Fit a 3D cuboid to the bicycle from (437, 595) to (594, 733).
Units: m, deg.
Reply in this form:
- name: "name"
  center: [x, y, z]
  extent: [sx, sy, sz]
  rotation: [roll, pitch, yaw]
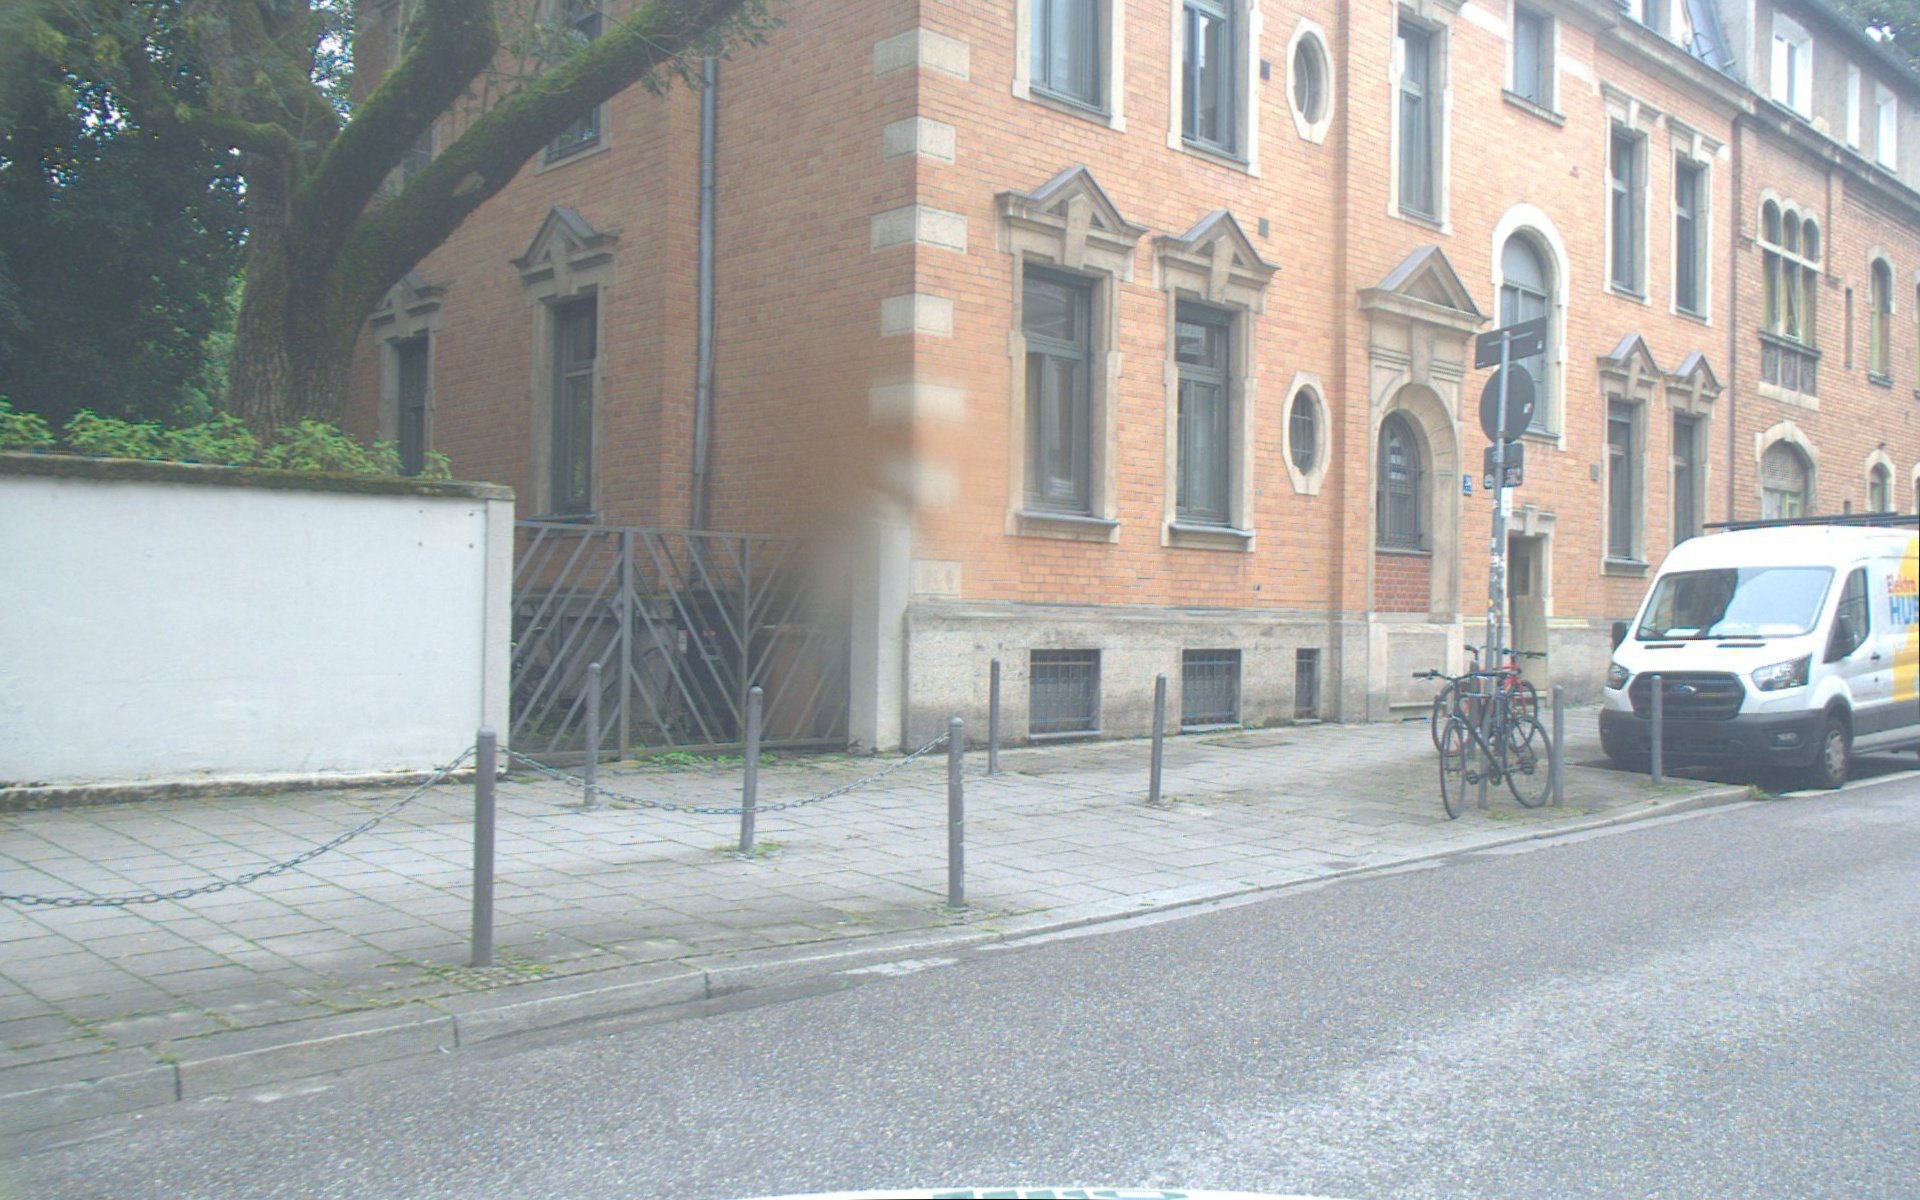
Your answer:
- name: "bicycle"
  center: [-4.271, 0.583, 15.803]
  extent: [0.532, 1.240, 2.049]
  rotation: [2, -1, -43]

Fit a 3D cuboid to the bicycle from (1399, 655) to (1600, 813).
- name: "bicycle"
  center: [3.988, 0.947, 12.165]
  extent: [1.746, 1.072, 0.573]
  rotation: [1, -1, -40]

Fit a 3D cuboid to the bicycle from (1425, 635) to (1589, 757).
- name: "bicycle"
  center: [5.217, 0.885, 15.725]
  extent: [1.877, 1.072, 0.573]
  rotation: [1, 0, -40]

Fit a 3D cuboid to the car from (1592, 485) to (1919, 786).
- name: "car"
  center: [8.461, 0.366, 16.404]
  extent: [5.428, 2.511, 1.967]
  rotation: [2, -3, -44]

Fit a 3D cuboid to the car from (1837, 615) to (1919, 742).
- name: "car"
  center: [12.540, 0.937, 20.622]
  extent: [3.965, 1.480, 1.667]
  rotation: [1, -3, -44]
